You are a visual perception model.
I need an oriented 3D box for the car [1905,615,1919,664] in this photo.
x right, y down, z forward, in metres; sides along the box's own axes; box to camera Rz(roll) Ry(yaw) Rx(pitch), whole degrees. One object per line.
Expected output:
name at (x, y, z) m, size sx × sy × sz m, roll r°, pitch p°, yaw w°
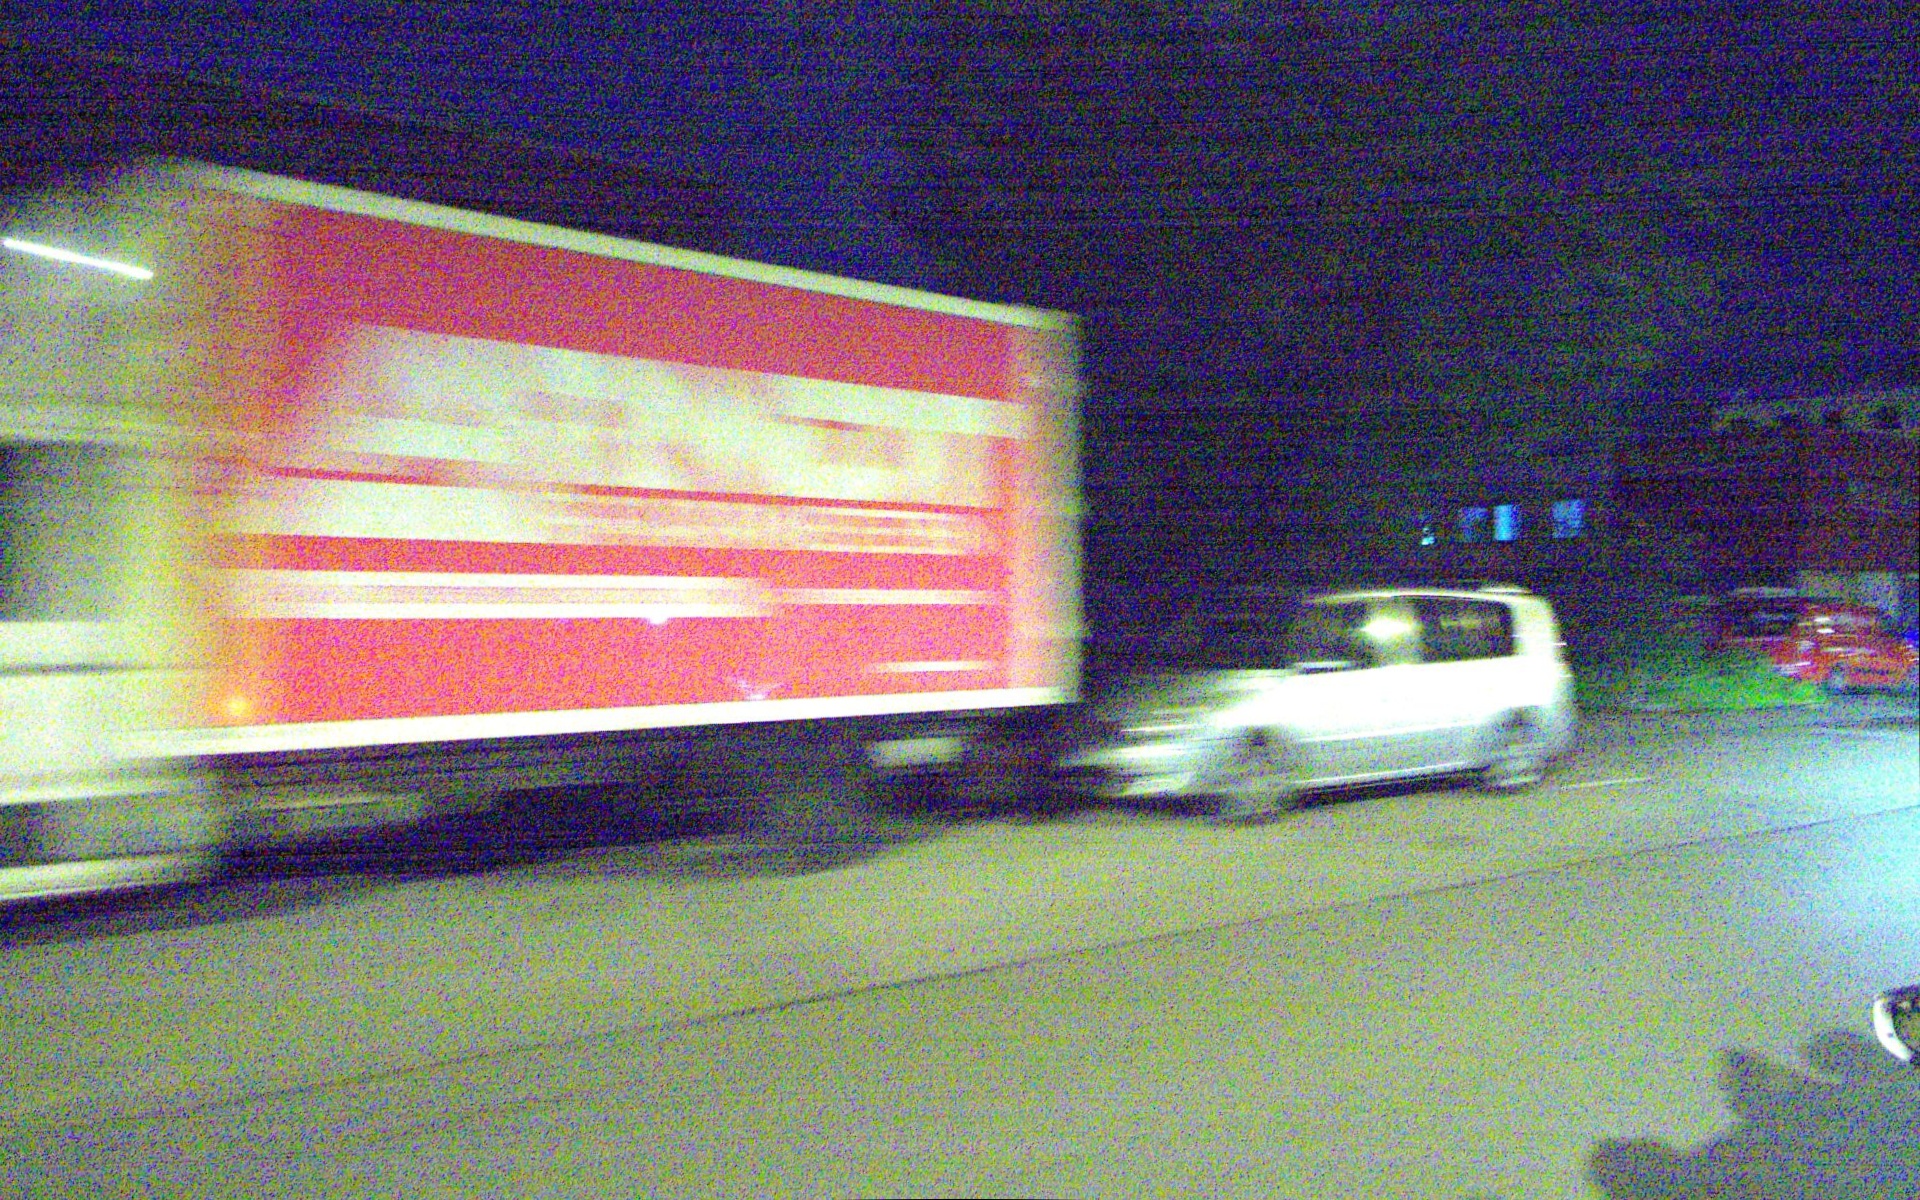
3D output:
car at (33.013, 1.266, 31.928) m, size 1.793 × 1.591 × 3.974 m, roll 1°, pitch -2°, yaw -26°

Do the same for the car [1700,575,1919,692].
car at (18.844, 0.739, 22.030) m, size 4.896 × 2.352 × 1.989 m, roll 1°, pitch -2°, yaw -23°

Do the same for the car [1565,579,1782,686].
car at (17.075, 0.765, 24.062) m, size 4.558 × 2.352 × 2.202 m, roll 1°, pitch -1°, yaw -23°

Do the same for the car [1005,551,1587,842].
car at (2.876, 0.658, 8.316) m, size 4.778 × 1.840 × 1.822 m, roll 1°, pitch -1°, yaw -28°

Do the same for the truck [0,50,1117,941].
truck at (-2.770, -0.358, 5.660) m, size 7.223 × 3.324 × 2.532 m, roll 1°, pitch -1°, yaw -29°
